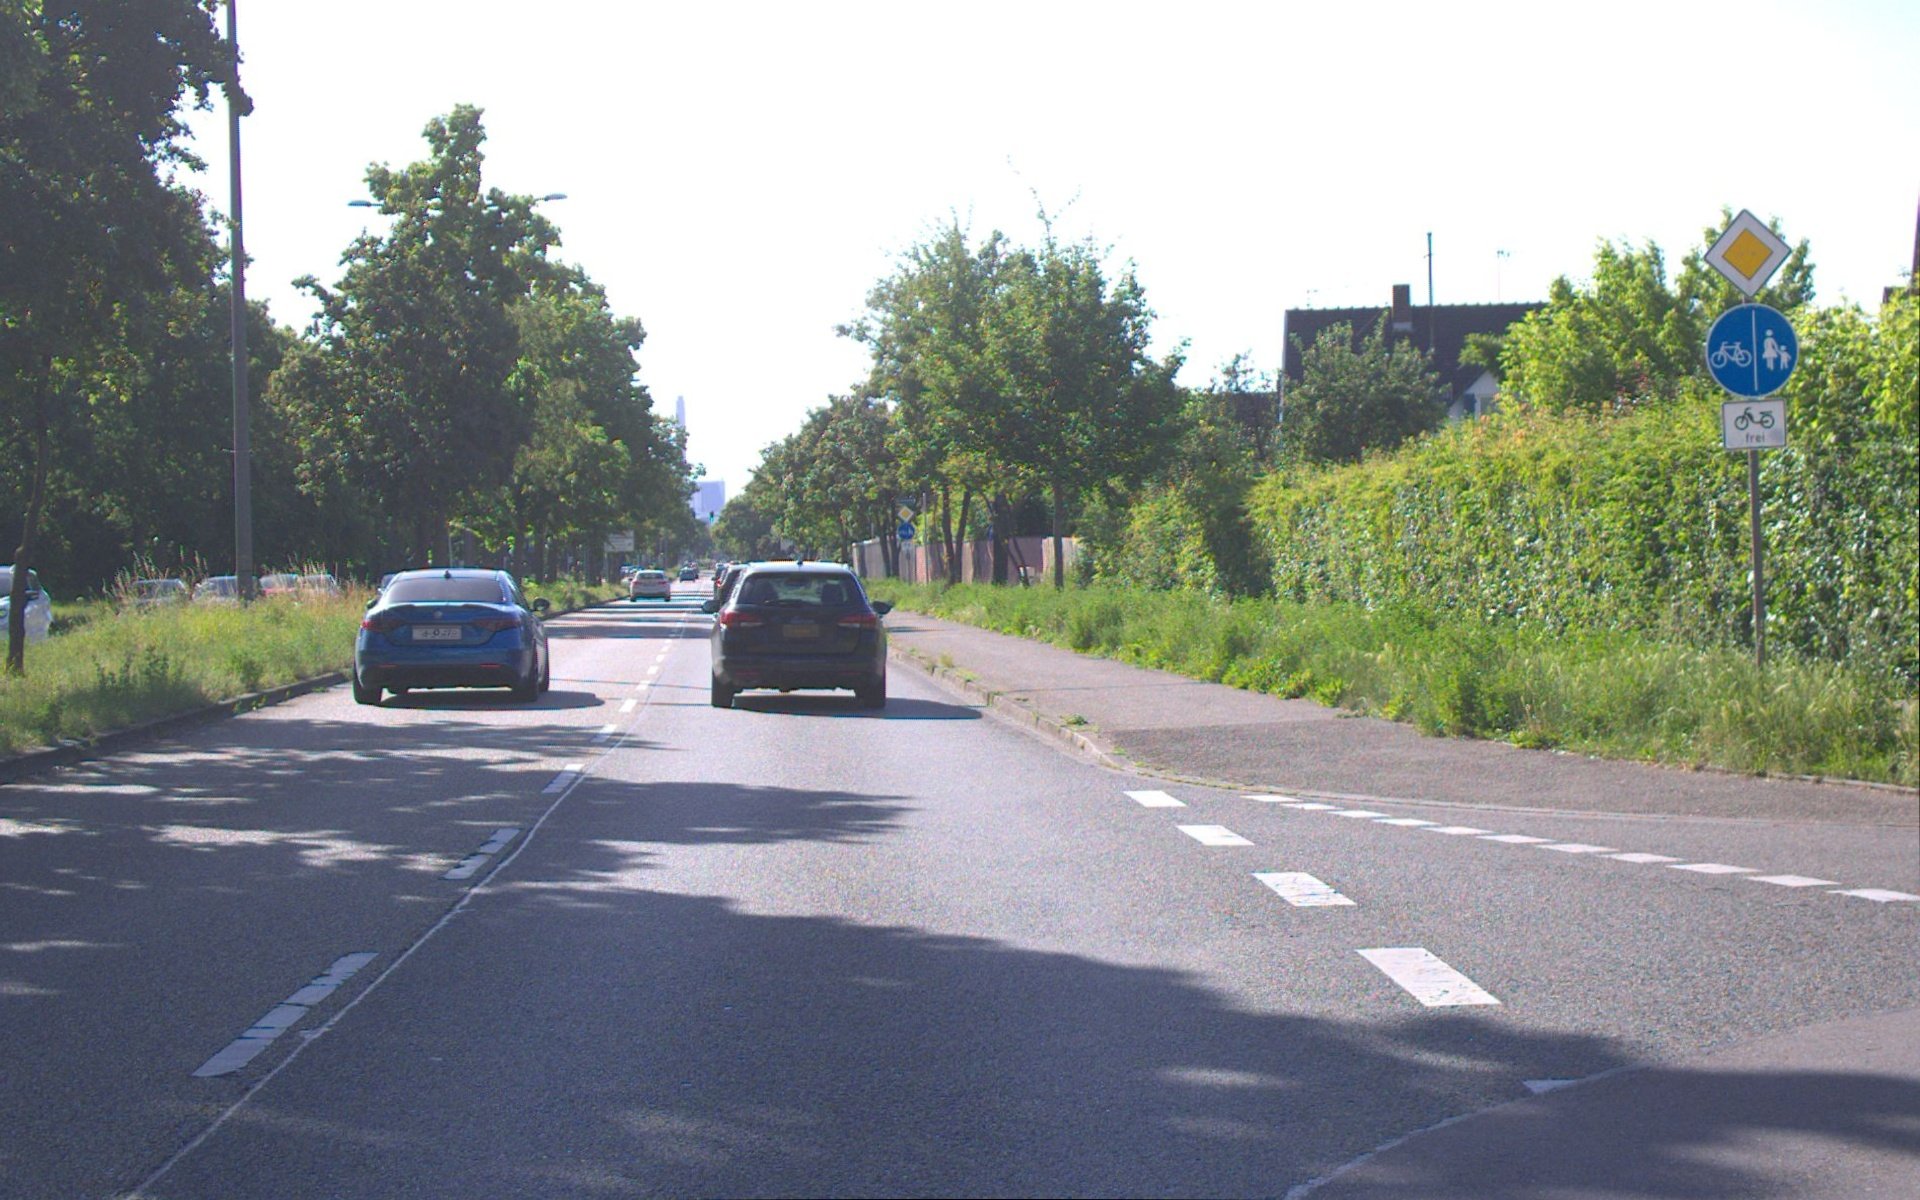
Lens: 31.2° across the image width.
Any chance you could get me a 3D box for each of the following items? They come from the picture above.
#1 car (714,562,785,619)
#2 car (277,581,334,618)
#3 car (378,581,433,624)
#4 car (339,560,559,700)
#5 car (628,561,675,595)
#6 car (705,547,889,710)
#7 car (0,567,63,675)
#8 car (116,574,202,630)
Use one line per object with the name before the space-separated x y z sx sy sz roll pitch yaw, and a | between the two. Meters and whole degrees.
car | -6.296 -0.300 102.414 1.743 1.592 4.176 0 1 -9
car | -25.897 -0.034 136.158 1.838 1.408 4.001 0 1 -6
car | -21.400 0.072 132.720 1.713 1.597 4.359 -1 1 -4
car | -5.470 0.283 37.226 1.994 1.400 4.001 0 1 -3
car | -14.194 -1.024 158.007 1.978 1.435 4.001 -1 1 -8
car | -1.698 0.270 35.513 1.760 1.554 4.000 1 0 -3
car | -15.472 0.320 54.317 1.730 1.626 4.198 -2 1 -4
car | -22.610 0.041 97.192 1.805 1.495 4.597 -1 1 -6
